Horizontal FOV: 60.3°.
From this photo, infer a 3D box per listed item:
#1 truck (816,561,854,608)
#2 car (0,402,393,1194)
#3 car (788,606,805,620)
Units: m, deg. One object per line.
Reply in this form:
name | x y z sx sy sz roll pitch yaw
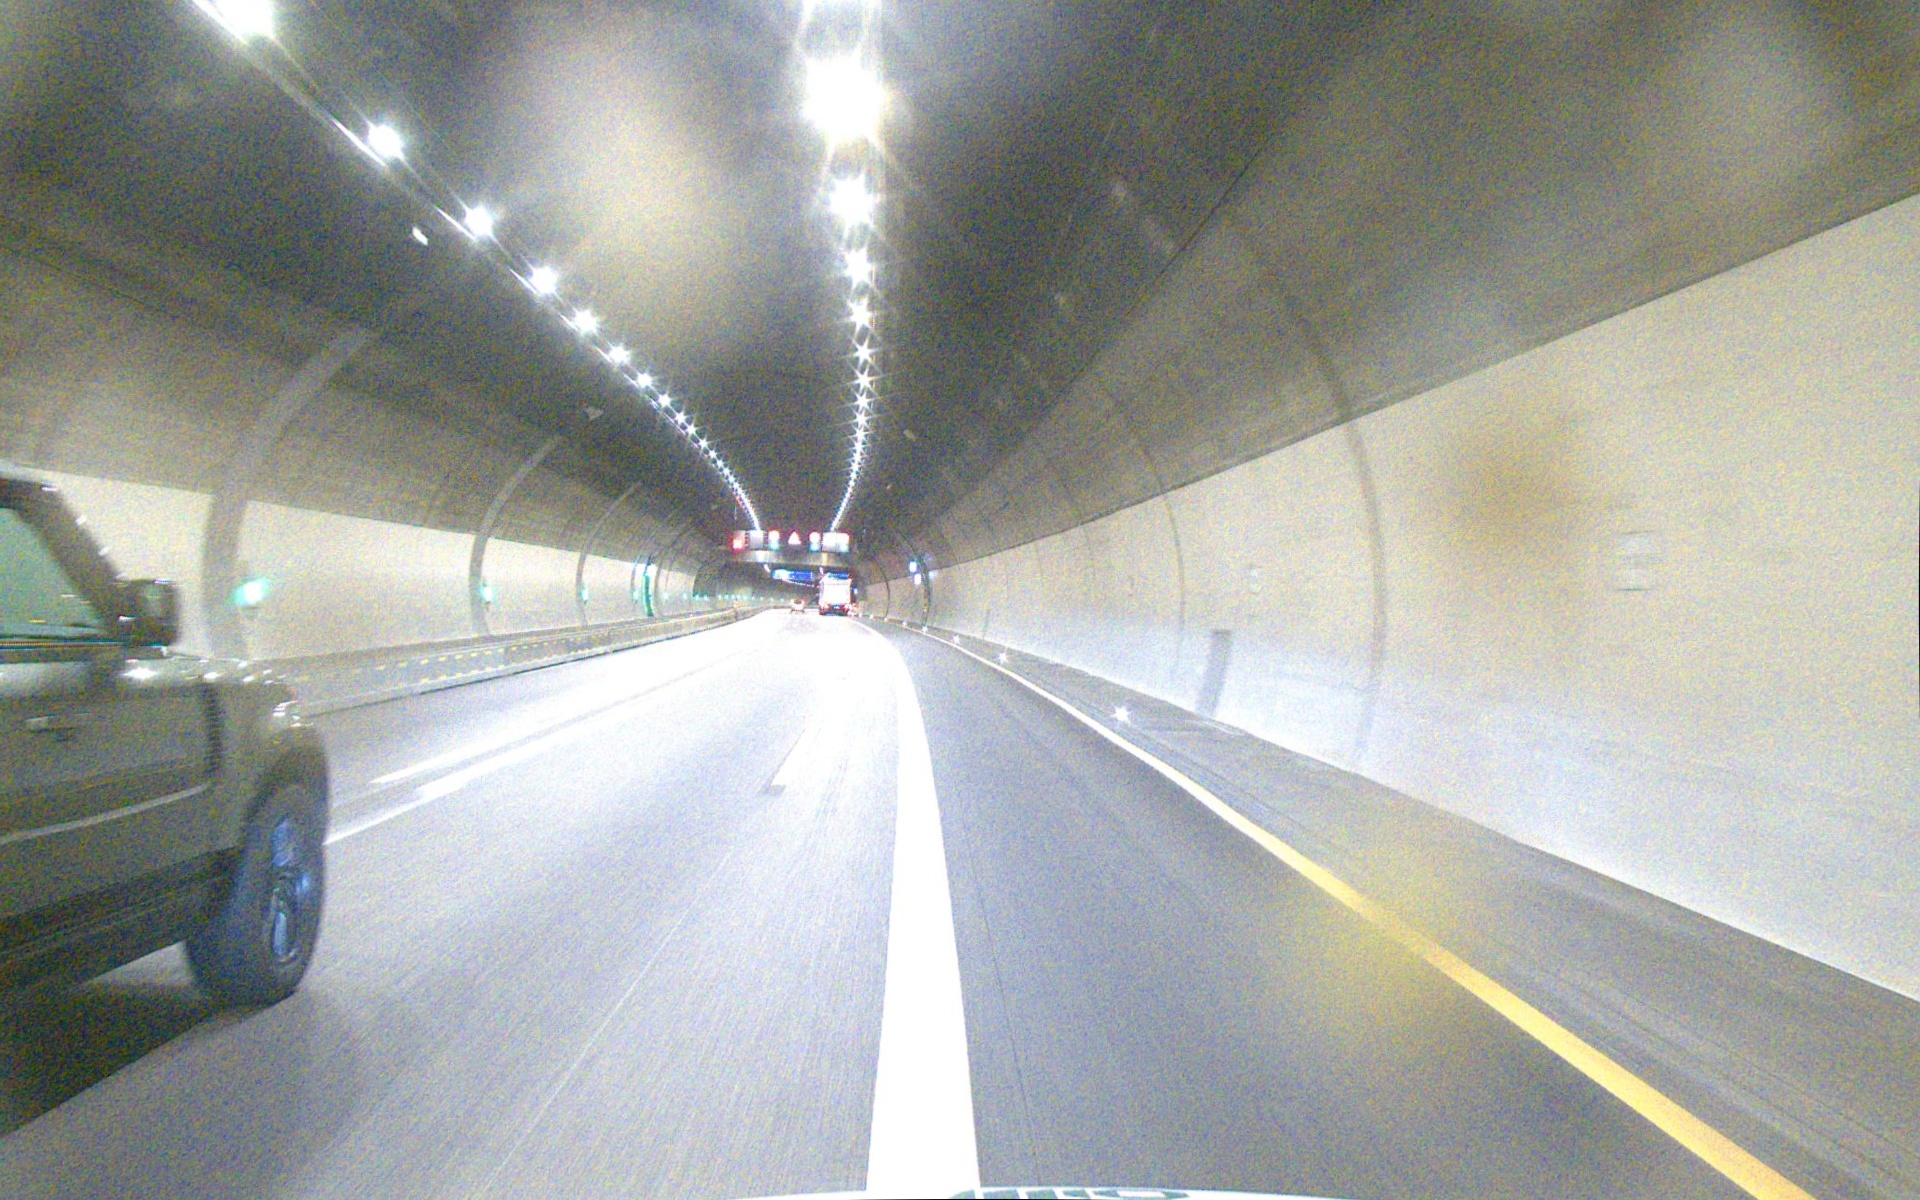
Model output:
truck | -12.096 -1.496 159.648 3.407 4.391 10.938 0 0 -6
car | -3.319 0.480 4.289 1.953 1.928 5.451 0 0 -2
car | -20.096 1.613 202.986 1.955 1.609 3.994 0 0 -7
